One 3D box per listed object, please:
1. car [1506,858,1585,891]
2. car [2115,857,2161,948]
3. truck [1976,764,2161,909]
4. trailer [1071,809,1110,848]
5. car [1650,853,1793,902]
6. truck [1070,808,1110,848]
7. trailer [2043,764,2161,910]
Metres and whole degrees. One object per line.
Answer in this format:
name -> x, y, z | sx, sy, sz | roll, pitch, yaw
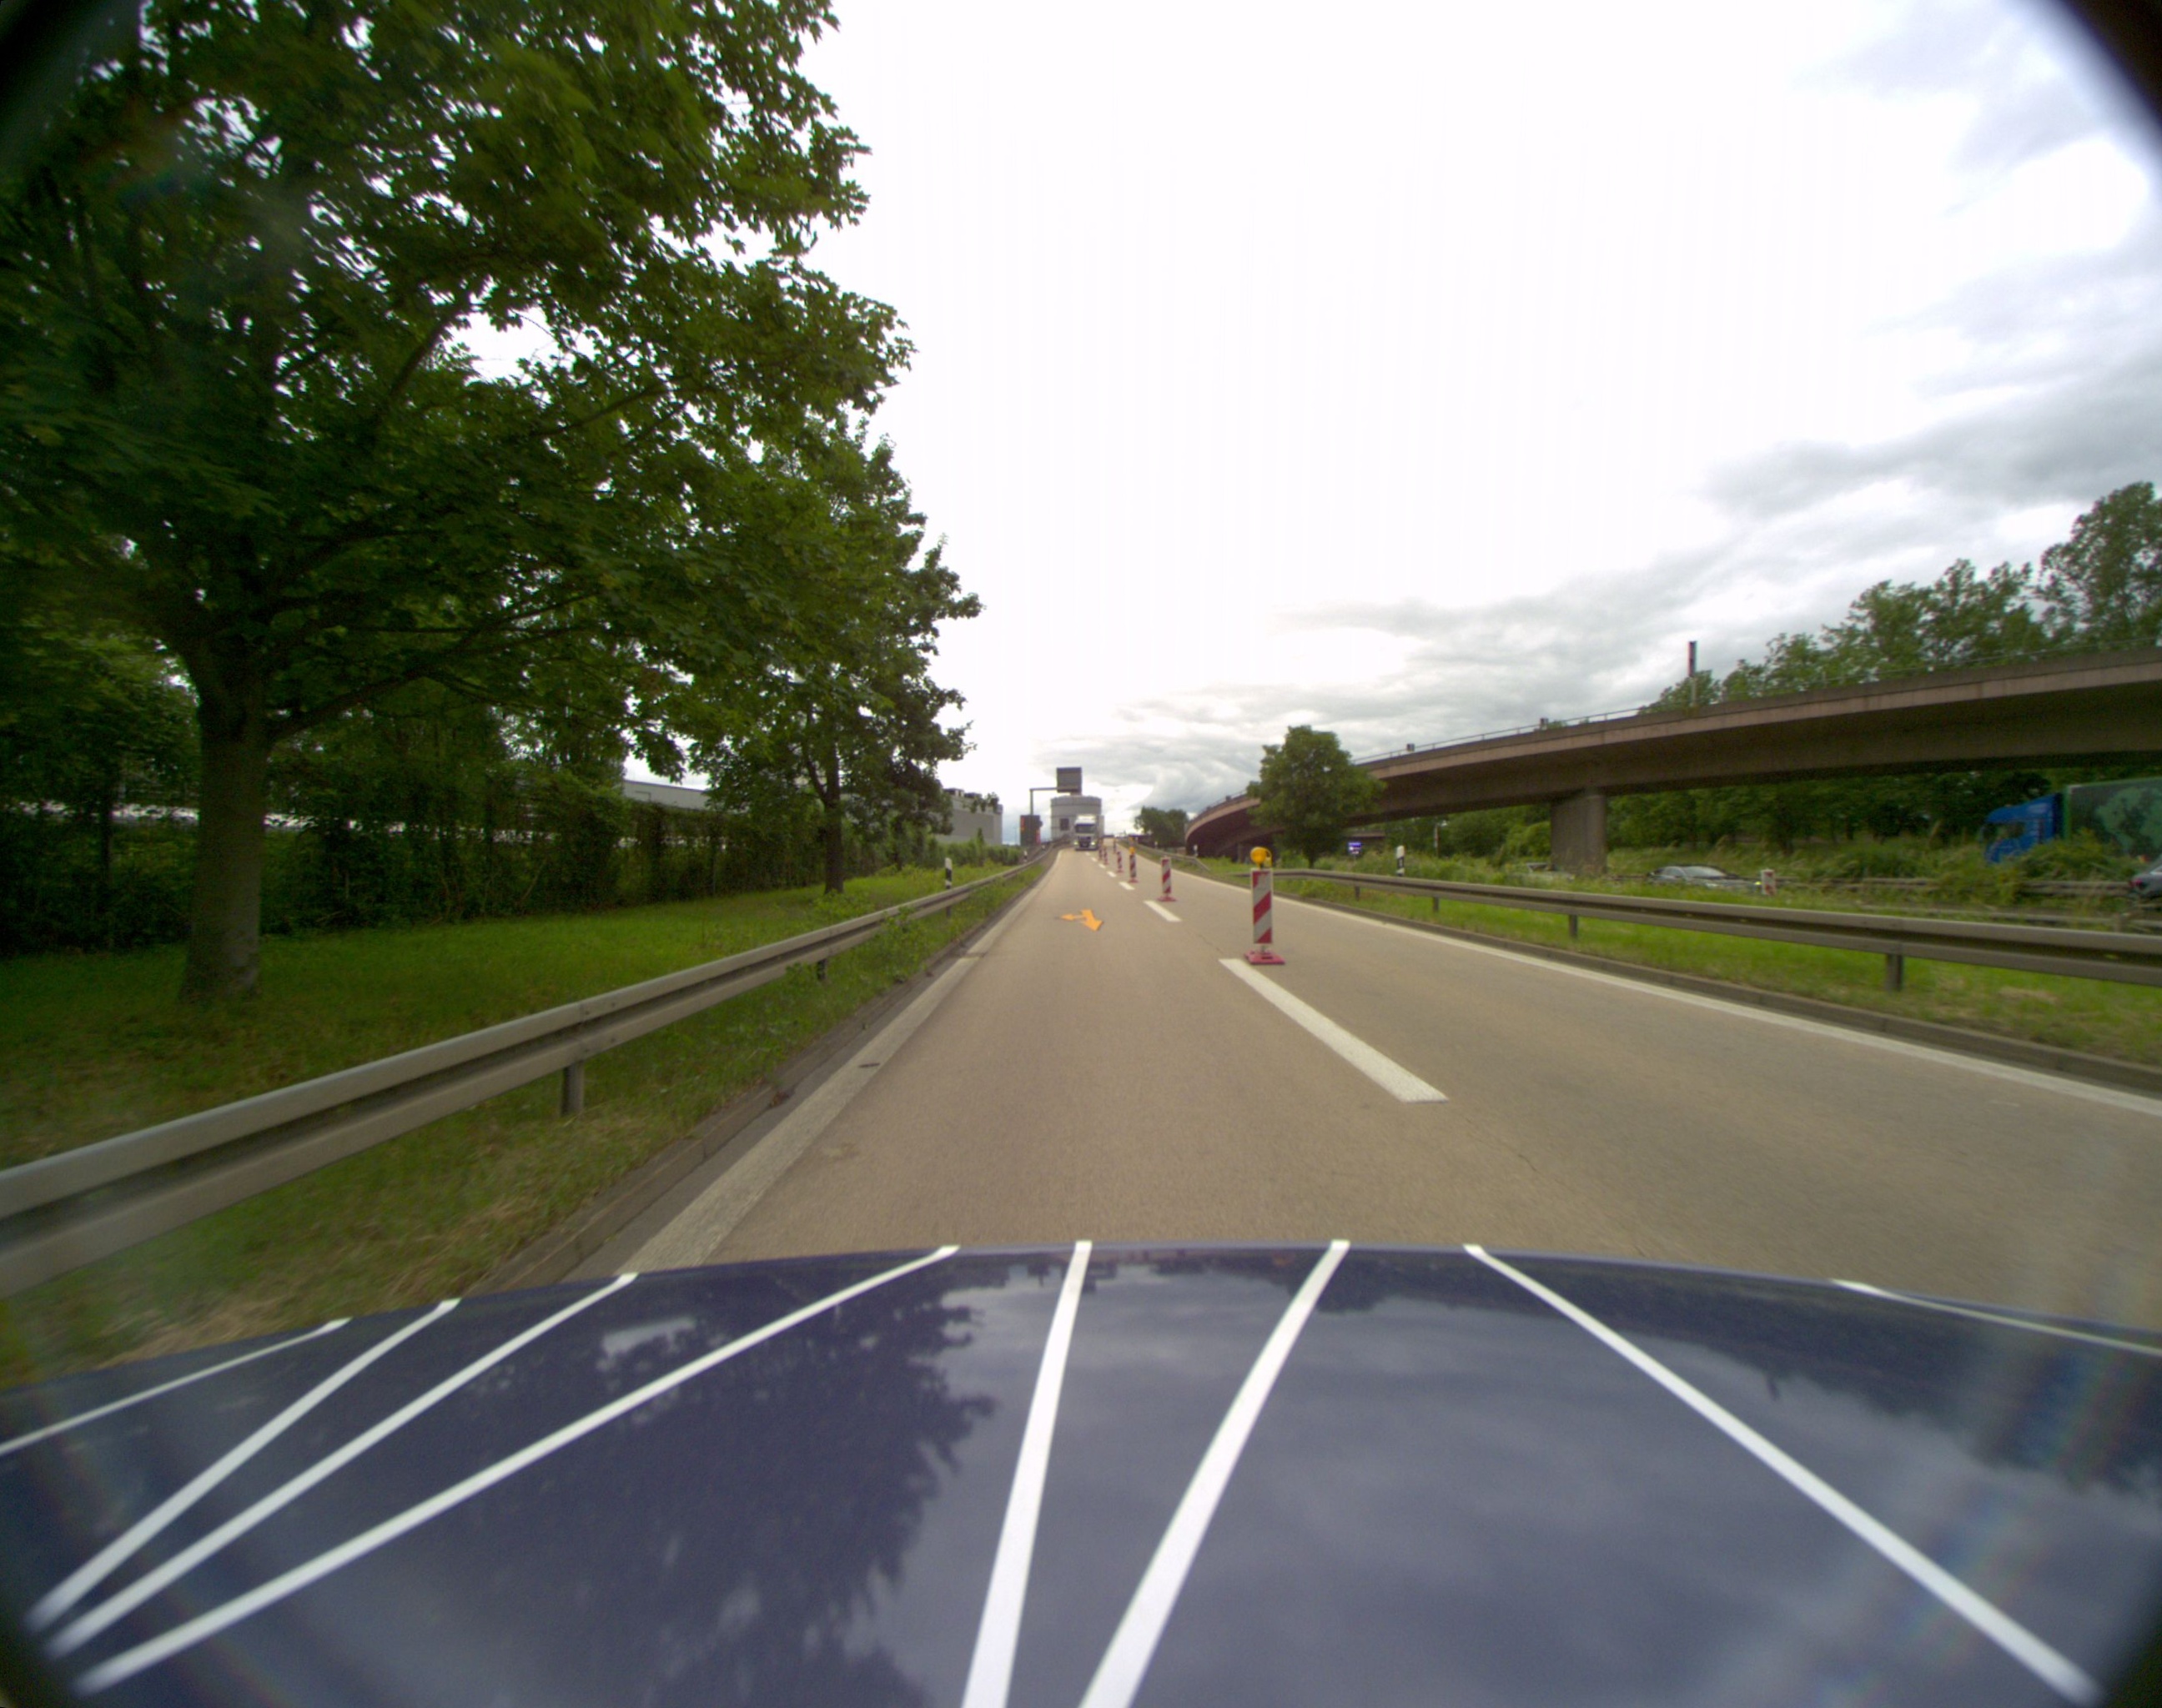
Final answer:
car -> 24.147, 1.029, 39.697 | 2.041, 1.605, 4.297 | -1, 0, 9
car -> 20.190, 0.855, 11.932 | 2.041, 1.605, 4.581 | -1, 0, 9
truck -> 33.284, -0.534, 24.491 | 2.757, 4.247, 5.506 | -1, 0, 9
trailer -> 1.344, -2.915, 92.709 | 4.124, 4.219, 13.894 | -1, 0, 3
car -> 23.114, 0.788, 27.657 | 2.041, 1.605, 4.297 | -1, 0, 9
truck -> 1.114, -2.869, 86.055 | 4.163, 4.278, 5.966 | -1, 0, 3
trailer -> 32.327, -0.524, 18.090 | 2.776, 4.269, 13.988 | -1, 0, 8
